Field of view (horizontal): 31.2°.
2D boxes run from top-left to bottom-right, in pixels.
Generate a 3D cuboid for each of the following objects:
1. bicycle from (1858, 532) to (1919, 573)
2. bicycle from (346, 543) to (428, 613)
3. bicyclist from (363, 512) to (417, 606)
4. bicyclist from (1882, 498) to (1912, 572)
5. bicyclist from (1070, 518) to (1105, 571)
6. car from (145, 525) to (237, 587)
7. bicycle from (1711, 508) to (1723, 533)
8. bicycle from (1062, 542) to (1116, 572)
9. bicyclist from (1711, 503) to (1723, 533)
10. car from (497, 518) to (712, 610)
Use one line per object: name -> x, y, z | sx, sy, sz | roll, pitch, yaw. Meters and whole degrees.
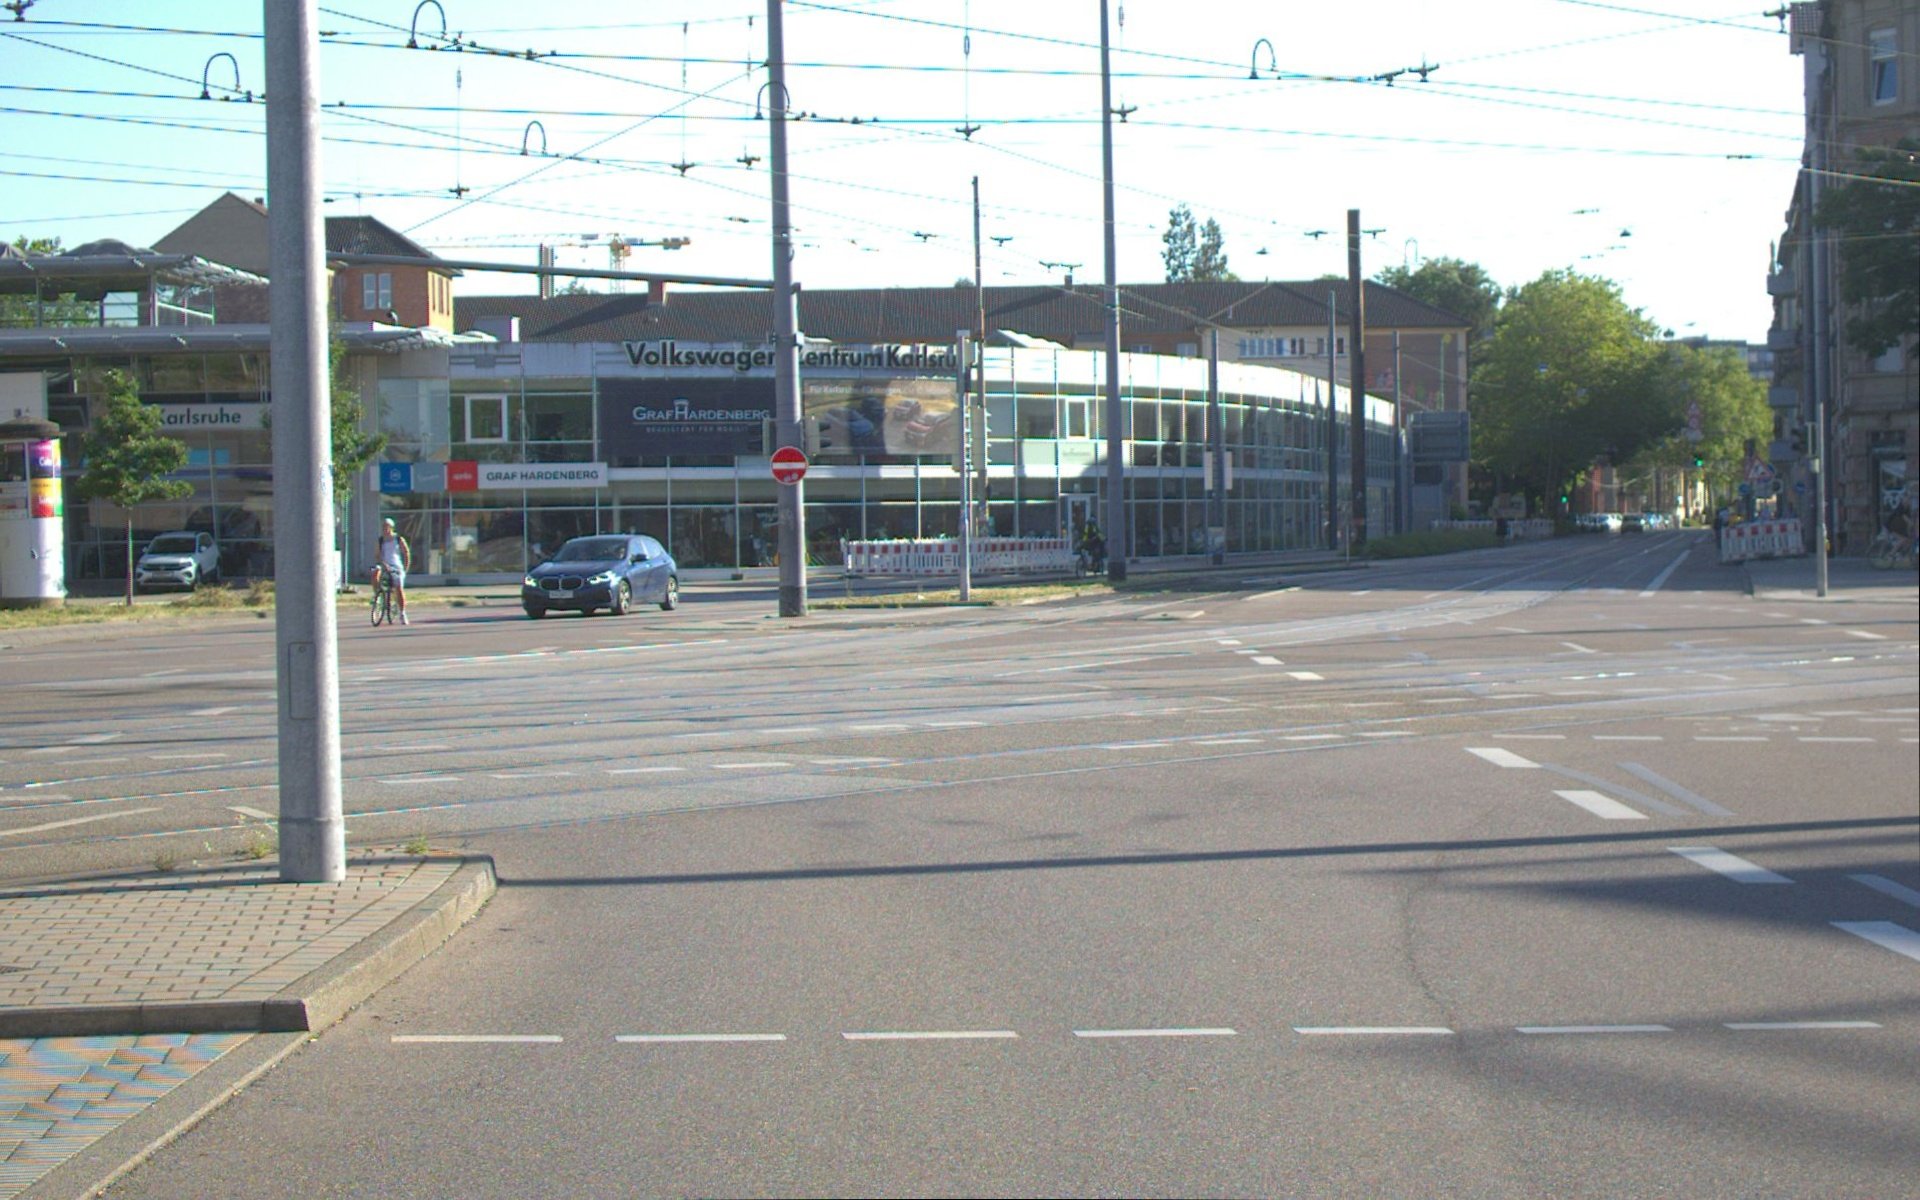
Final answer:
bicycle -> 21.768, -1.100, 79.883 | 1.598, 0.949, 0.658 | 1, 1, 33
bicycle -> -9.949, -0.379, 59.723 | 0.613, 1.185, 1.867 | 1, 1, 17
bicyclist -> -9.915, -0.712, 59.821 | 0.598, 1.610, 0.822 | 1, 0, 17
bicyclist -> 21.766, -1.505, 79.880 | 0.515, 1.695, 0.519 | 1, 0, 33
bicyclist -> 3.790, -1.643, 102.241 | 0.655, 1.567, 0.921 | 1, 0, 29
car -> -22.158, -1.267, 99.217 | 1.993, 1.744, 4.001 | 1, 1, -4
bicycle -> 28.502, -2.991, 129.416 | 0.410, 0.938, 1.844 | 1, 1, 12
bicycle -> 3.839, -1.282, 102.347 | 0.639, 0.867, 2.231 | 1, 1, 29
bicyclist -> 28.481, -3.083, 129.368 | 0.408, 1.112, 0.399 | 1, 0, 11
car -> -6.342, -0.637, 61.759 | 1.996, 1.579, 3.994 | 1, 1, 27
